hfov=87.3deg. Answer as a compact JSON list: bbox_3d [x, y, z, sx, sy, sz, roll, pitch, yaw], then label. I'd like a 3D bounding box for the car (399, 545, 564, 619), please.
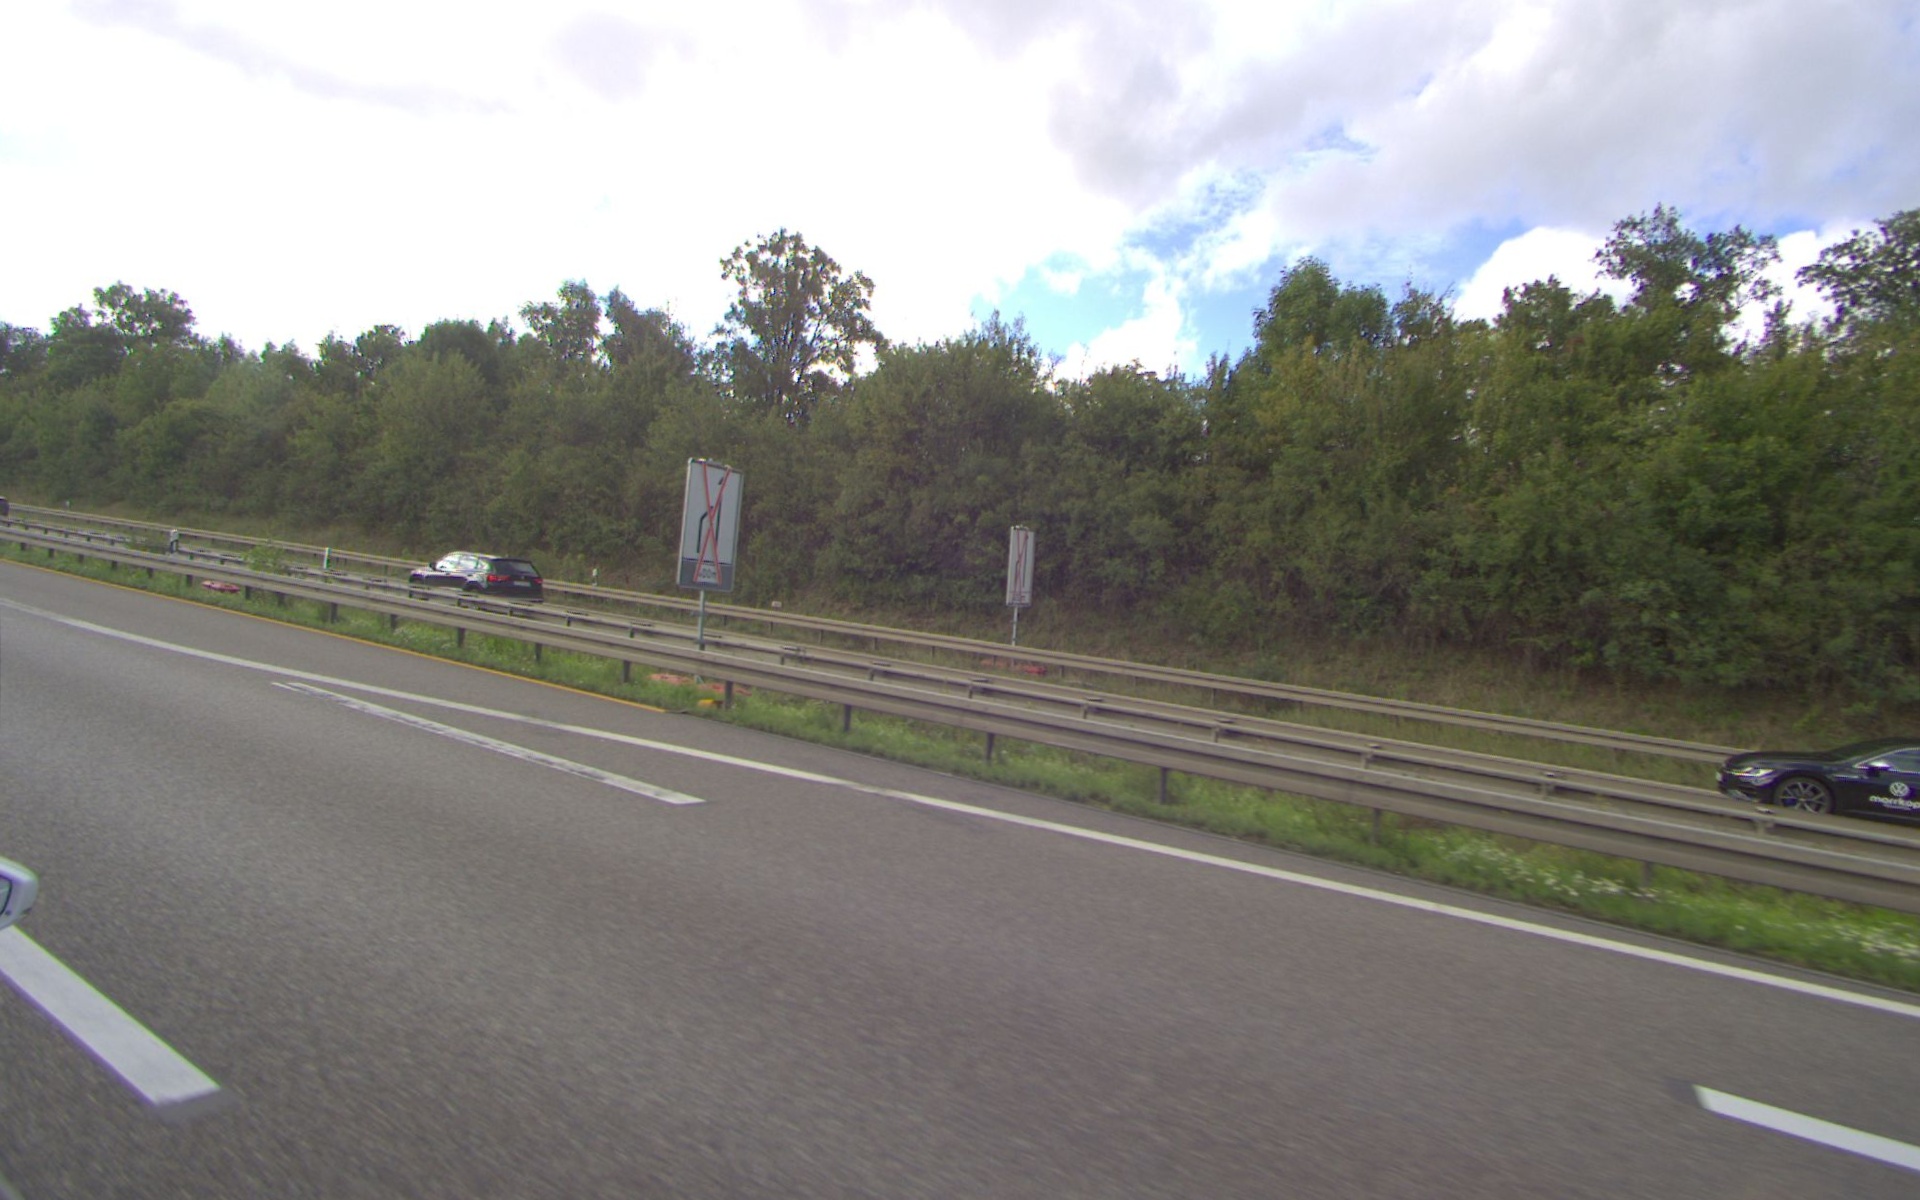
[{"bbox_3d":[-13.055,-0.496,27.375,4.450,1.503,1.844,7,1,32],"label":"car"}]

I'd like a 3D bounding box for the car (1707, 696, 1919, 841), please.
[{"bbox_3d":[13.908,2.575,14.517,4.684,1.623,1.845,7,1,31],"label":"car"}]

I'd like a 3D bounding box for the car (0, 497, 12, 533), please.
[{"bbox_3d":[-49.081,-4.402,49.928,4.234,1.671,1.848,7,2,32],"label":"car"}]
